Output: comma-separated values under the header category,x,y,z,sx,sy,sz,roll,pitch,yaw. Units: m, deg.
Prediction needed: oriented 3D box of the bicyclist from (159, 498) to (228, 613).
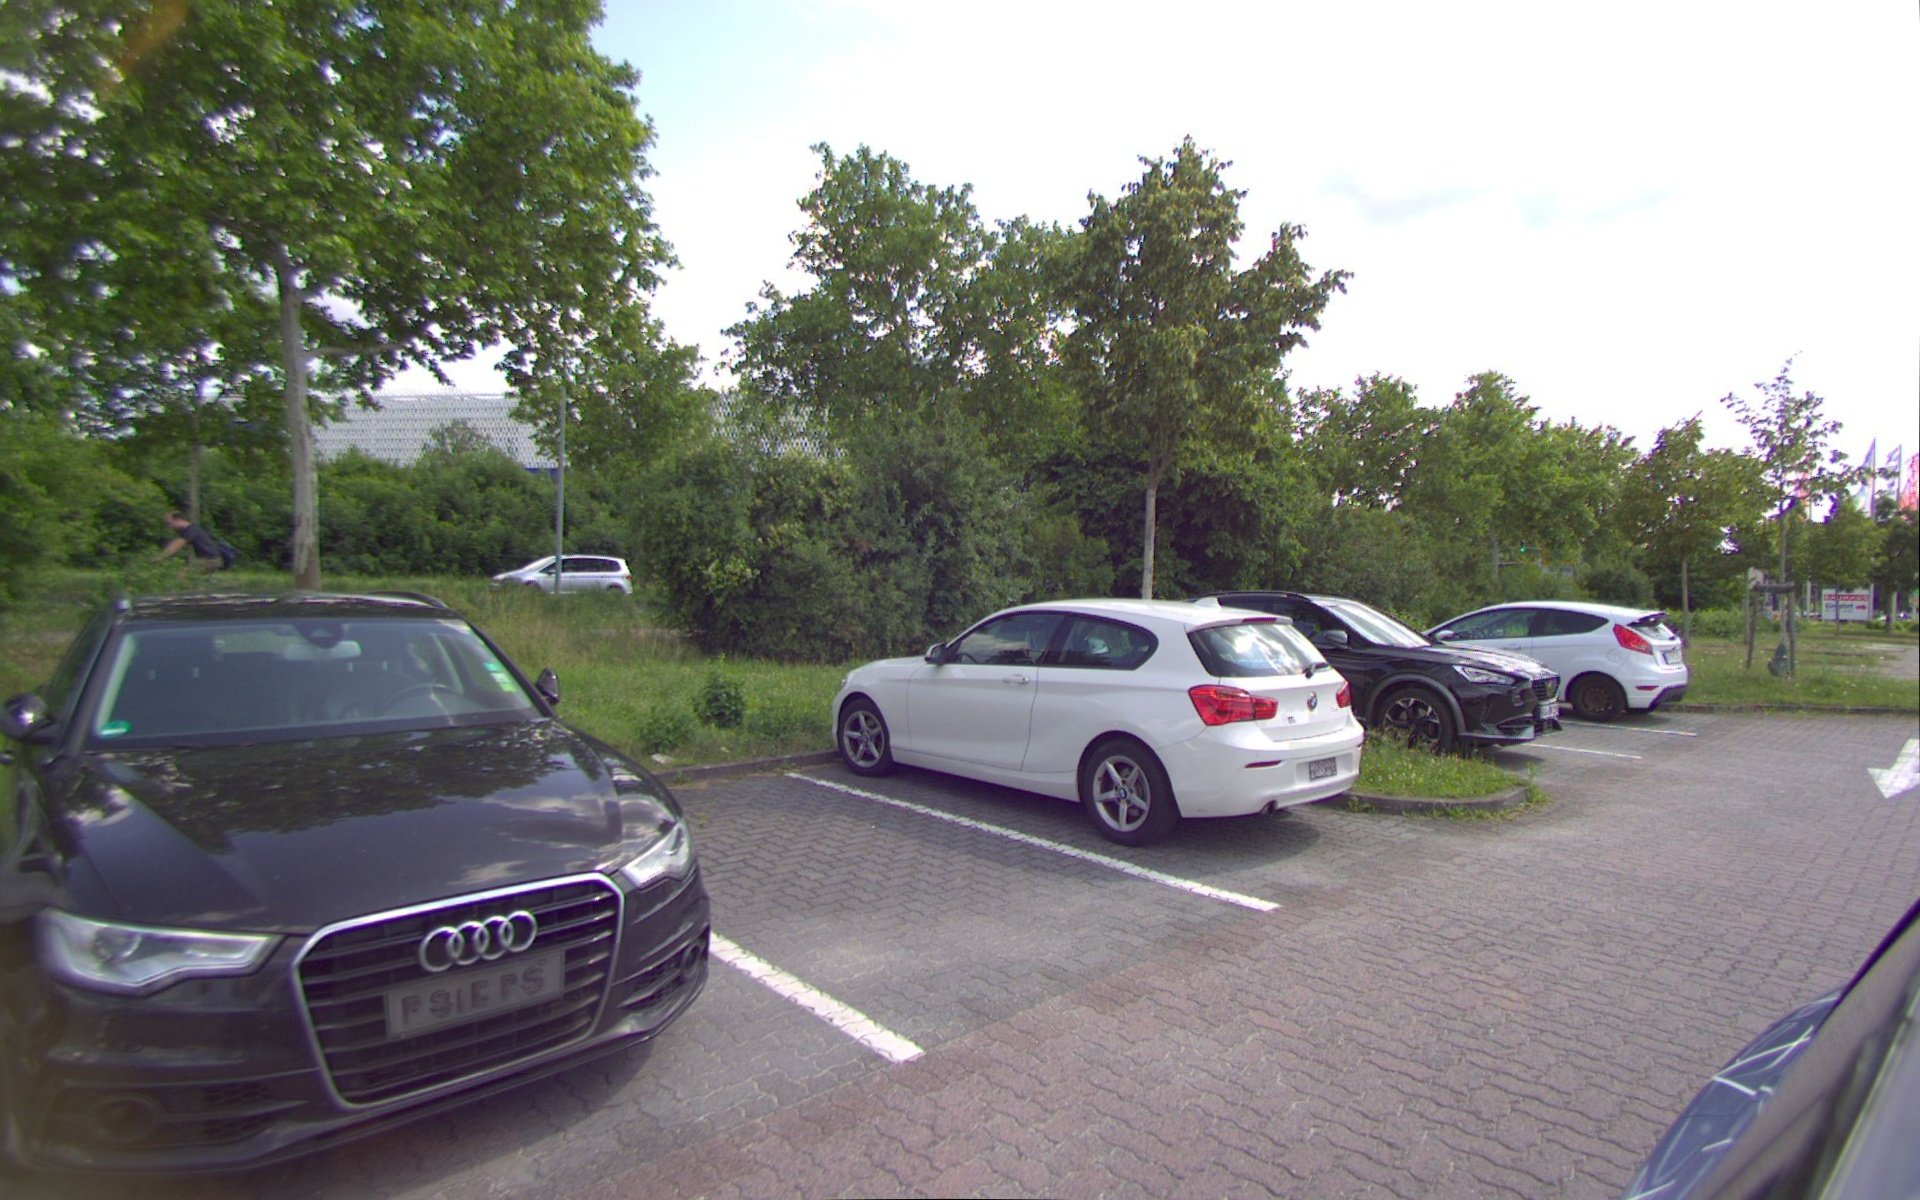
category,x,y,z,sx,sy,sz,roll,pitch,yaw
bicyclist,-11.127,-0.621,14.692,0.749,1.612,0.635,0,-1,-43

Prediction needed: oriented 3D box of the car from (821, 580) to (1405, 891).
category,x,y,z,sx,sy,sz,roll,pitch,yaw
car,0.810,0.658,7.298,1.661,1.528,4.076,-1,2,-40

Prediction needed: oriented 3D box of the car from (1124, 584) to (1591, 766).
category,x,y,z,sx,sy,sz,roll,pitch,yaw
car,3.930,0.604,10.585,1.704,1.428,4.235,0,1,-43

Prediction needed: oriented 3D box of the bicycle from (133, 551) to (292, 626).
category,x,y,z,sx,sy,sz,roll,pitch,yaw
bicycle,-10.940,-0.167,14.865,1.839,1.051,0.526,-1,-1,-43

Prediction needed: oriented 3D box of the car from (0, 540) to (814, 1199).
category,x,y,z,sx,sy,sz,roll,pitch,yaw
car,-2.720,0.554,4.170,1.809,1.469,4.714,0,1,-43

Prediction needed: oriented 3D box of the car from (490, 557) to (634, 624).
category,x,y,z,sx,sy,sz,roll,pitch,yaw
car,-12.943,-0.319,33.017,3.933,2.039,1.996,0,1,-43

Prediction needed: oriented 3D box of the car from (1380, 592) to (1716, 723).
category,x,y,z,sx,sy,sz,roll,pitch,yaw
car,7.771,0.653,13.633,1.640,1.429,3.555,1,1,-38
